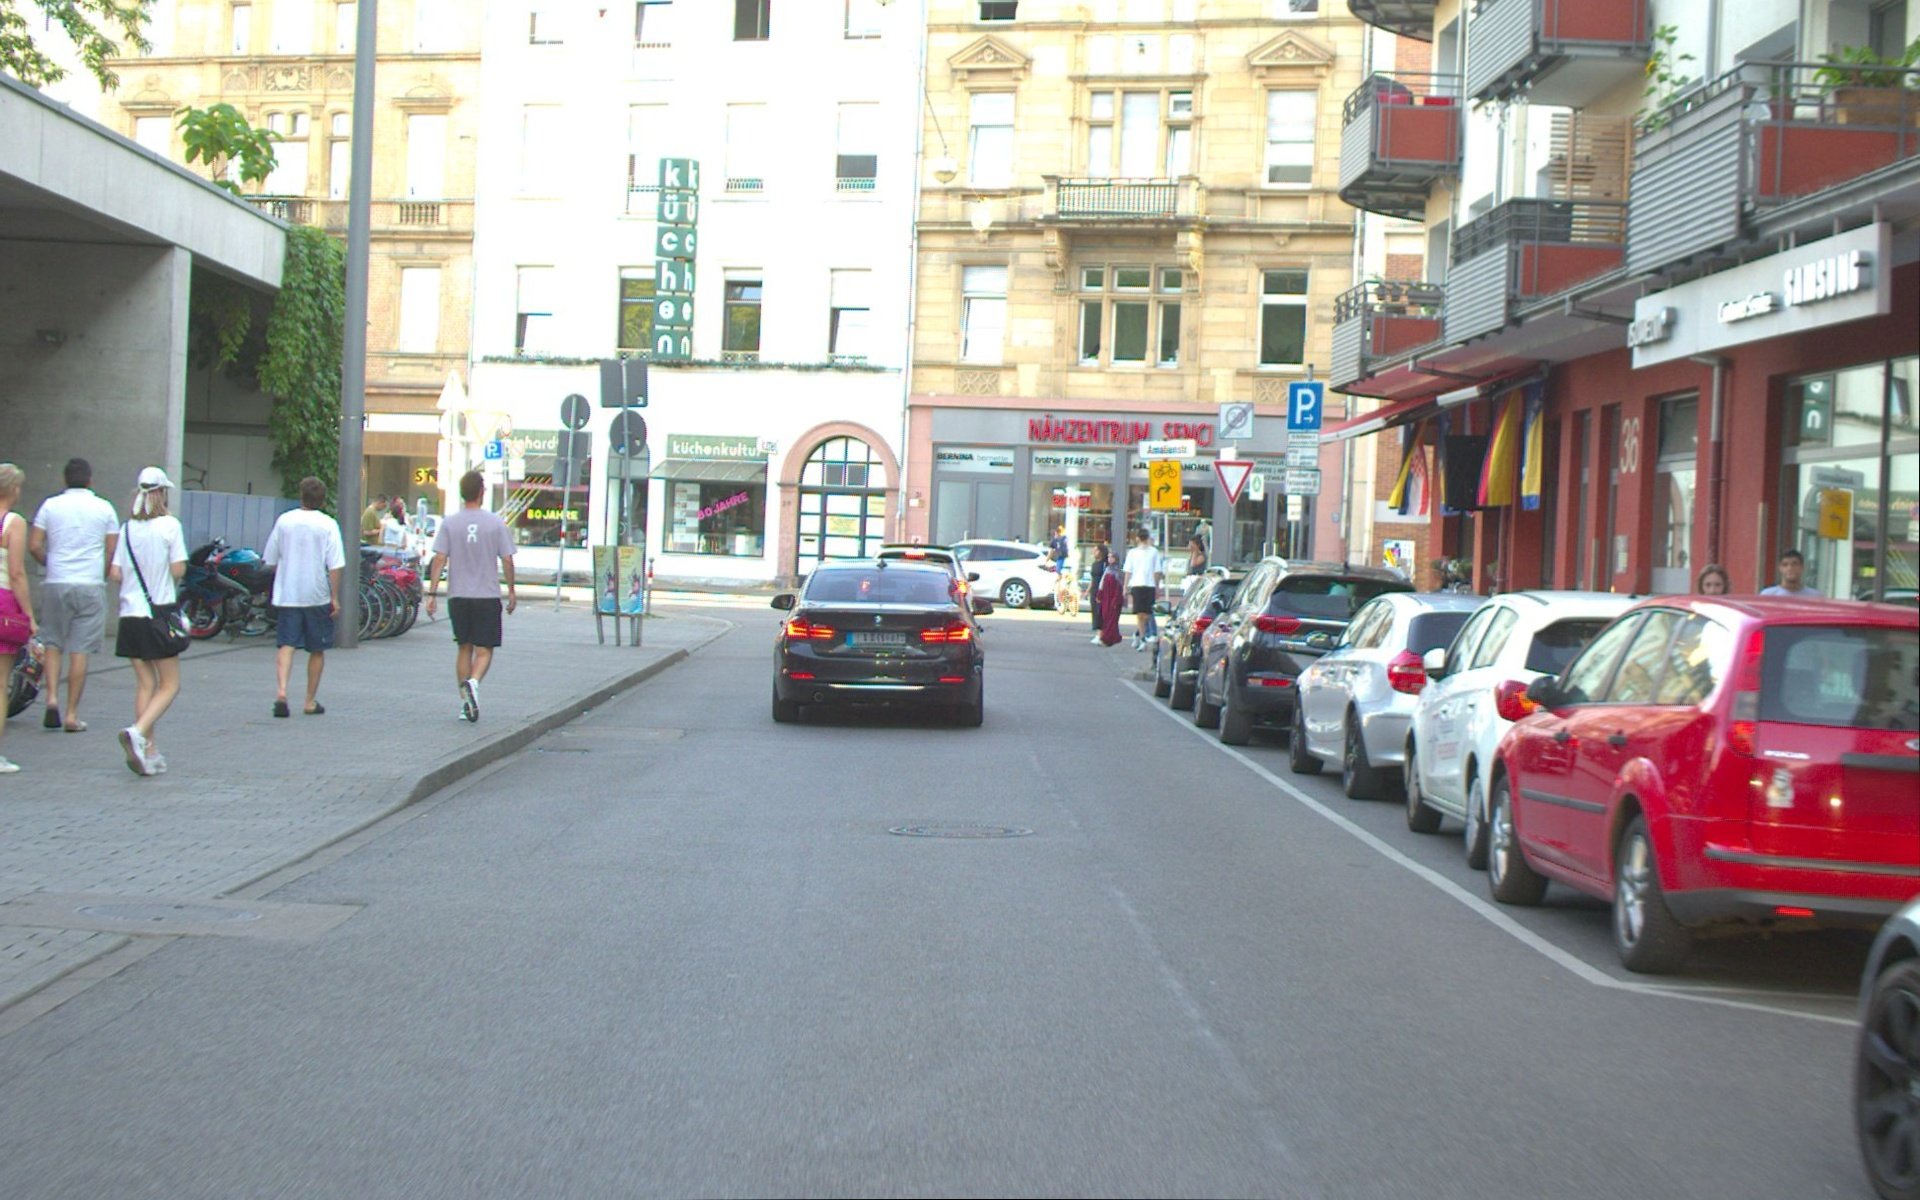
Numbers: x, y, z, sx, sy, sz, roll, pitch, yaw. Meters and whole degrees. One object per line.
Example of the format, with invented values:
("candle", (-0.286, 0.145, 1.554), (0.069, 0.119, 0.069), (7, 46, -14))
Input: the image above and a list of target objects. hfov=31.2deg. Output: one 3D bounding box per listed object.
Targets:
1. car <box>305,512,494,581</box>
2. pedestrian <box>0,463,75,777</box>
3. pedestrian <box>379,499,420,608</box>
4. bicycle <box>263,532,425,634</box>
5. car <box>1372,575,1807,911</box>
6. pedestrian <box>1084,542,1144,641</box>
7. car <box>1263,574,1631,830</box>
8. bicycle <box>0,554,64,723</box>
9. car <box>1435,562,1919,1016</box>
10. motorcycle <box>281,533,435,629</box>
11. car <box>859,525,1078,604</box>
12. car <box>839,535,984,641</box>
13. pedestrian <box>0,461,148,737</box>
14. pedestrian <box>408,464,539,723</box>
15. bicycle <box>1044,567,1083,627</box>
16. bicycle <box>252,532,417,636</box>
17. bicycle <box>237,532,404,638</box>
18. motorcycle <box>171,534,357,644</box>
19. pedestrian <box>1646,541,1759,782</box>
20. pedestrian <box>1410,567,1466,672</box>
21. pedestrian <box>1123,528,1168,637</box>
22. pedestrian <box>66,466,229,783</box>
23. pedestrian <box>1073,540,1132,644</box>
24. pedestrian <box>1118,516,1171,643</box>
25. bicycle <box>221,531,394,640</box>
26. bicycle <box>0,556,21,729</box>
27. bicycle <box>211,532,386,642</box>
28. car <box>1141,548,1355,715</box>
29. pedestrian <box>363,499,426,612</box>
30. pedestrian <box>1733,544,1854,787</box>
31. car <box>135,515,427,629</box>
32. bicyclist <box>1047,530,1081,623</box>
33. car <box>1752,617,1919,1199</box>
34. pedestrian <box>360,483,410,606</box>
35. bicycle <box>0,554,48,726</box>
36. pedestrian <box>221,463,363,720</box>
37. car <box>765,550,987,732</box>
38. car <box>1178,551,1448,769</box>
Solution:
("car", (-13.183, -1.259, 80.903), (3.992, 1.505, 1.798), (2, 0, 22))
("pedestrian", (-5.574, 0.087, 19.602), (0.753, 1.743, 0.846), (4, 1, -1))
("pedestrian", (-8.535, -0.715, 52.346), (0.500, 1.637, 0.520), (2, 1, 1))
("bicycle", (-7.393, -0.207, 41.270), (1.794, 1.104, 0.500), (4, 1, -1))
("car", (3.404, 0.703, 19.282), (1.606, 1.507, 4.048), (4, 1, 0))
("pedestrian", (2.422, -0.137, 54.228), (0.735, 1.508, 0.650), (3, 1, -9))
("car", (3.346, 0.648, 24.459), (1.698, 1.447, 4.459), (4, 1, -3))
("bicycle", (-7.025, 0.216, 23.172), (1.794, 1.104, 0.500), (3, 1, 3))
("car", (3.358, 0.688, 14.746), (1.712, 1.507, 4.653), (4, 1, -2))
("motorcycle", (-7.504, -0.234, 42.881), (1.745, 1.097, 0.567), (3, 1, -35))
("car", (0.178, -0.775, 75.024), (4.357, 1.557, 1.866), (2, 0, 22))
("car", (-0.685, -0.216, 51.617), (1.877, 1.468, 4.000), (2, 1, 3))
("pedestrian", (-5.789, -0.012, 22.490), (0.717, 1.748, 0.848), (2, 1, -2))
("pedestrian", (-3.697, -0.061, 26.167), (0.744, 1.887, 1.050), (3, 1, 0))
("bicycle", (1.976, -0.068, 65.654), (0.536, 1.104, 1.800), (3, 1, 7))
("bicycle", (-7.332, -0.186, 40.328), (1.794, 1.104, 0.500), (4, 1, -3))
("bicycle", (-7.361, -0.175, 39.624), (1.794, 1.104, 0.500), (4, 1, -5))
("motorcycle", (-7.458, -0.122, 36.847), (1.803, 1.060, 0.763), (4, 1, 25))
("pedestrian", (5.196, 0.422, 24.081), (0.648, 1.655, 0.655), (-1, 1, 1))
("pedestrian", (6.259, 0.252, 45.060), (0.606, 1.343, 0.696), (1, 1, -2))
("pedestrian", (3.017, -0.284, 55.910), (0.605, 1.740, 0.669), (2, 1, 11))
("pedestrian", (-4.636, 0.127, 19.670), (0.649, 1.744, 0.986), (3, 1, -1))
("pedestrian", (2.271, -0.134, 54.890), (0.724, 1.603, 0.650), (3, 1, -9))
("pedestrian", (2.797, -0.315, 52.173), (0.676, 1.871, 0.701), (3, 1, 1))
("bicycle", (-7.371, -0.166, 38.875), (1.794, 1.104, 0.500), (4, 1, 2))
("bicycle", (-7.019, 0.229, 22.069), (1.794, 1.104, 0.500), (3, 1, 3))
("bicycle", (-7.359, -0.151, 38.281), (1.794, 1.104, 0.500), (4, 1, -1))
("car", (3.011, 0.283, 36.883), (1.765, 1.497, 4.791), (4, 1, 0))
("pedestrian", (-8.862, -0.701, 53.846), (0.673, 1.740, 0.655), (3, 1, 39))
("pedestrian", (5.800, 0.442, 23.945), (0.648, 1.655, 0.794), (-1, 1, 1))
("car", (-9.674, -0.413, 49.225), (3.986, 1.496, 1.892), (1, 1, -8))
("bicyclist", (1.986, -0.454, 65.626), (0.524, 1.750, 0.620), (3, 1, 7))
("car", (3.130, 0.876, 6.882), (1.736, 1.410, 4.683), (4, 1, -2))
("pedestrian", (-8.868, -0.856, 53.024), (0.583, 1.876, 0.633), (2, 1, 5))
("bicycle", (-7.012, 0.221, 22.701), (1.794, 1.104, 0.500), (3, 1, 3))
("pedestrian", (-4.913, -0.072, 25.342), (0.741, 1.806, 1.009), (4, 1, -1))
("car", (-0.701, 0.303, 30.730), (1.765, 1.370, 4.791), (3, 1, 0))
("car", (3.090, 0.468, 30.994), (1.765, 1.636, 4.791), (4, 1, -1))
